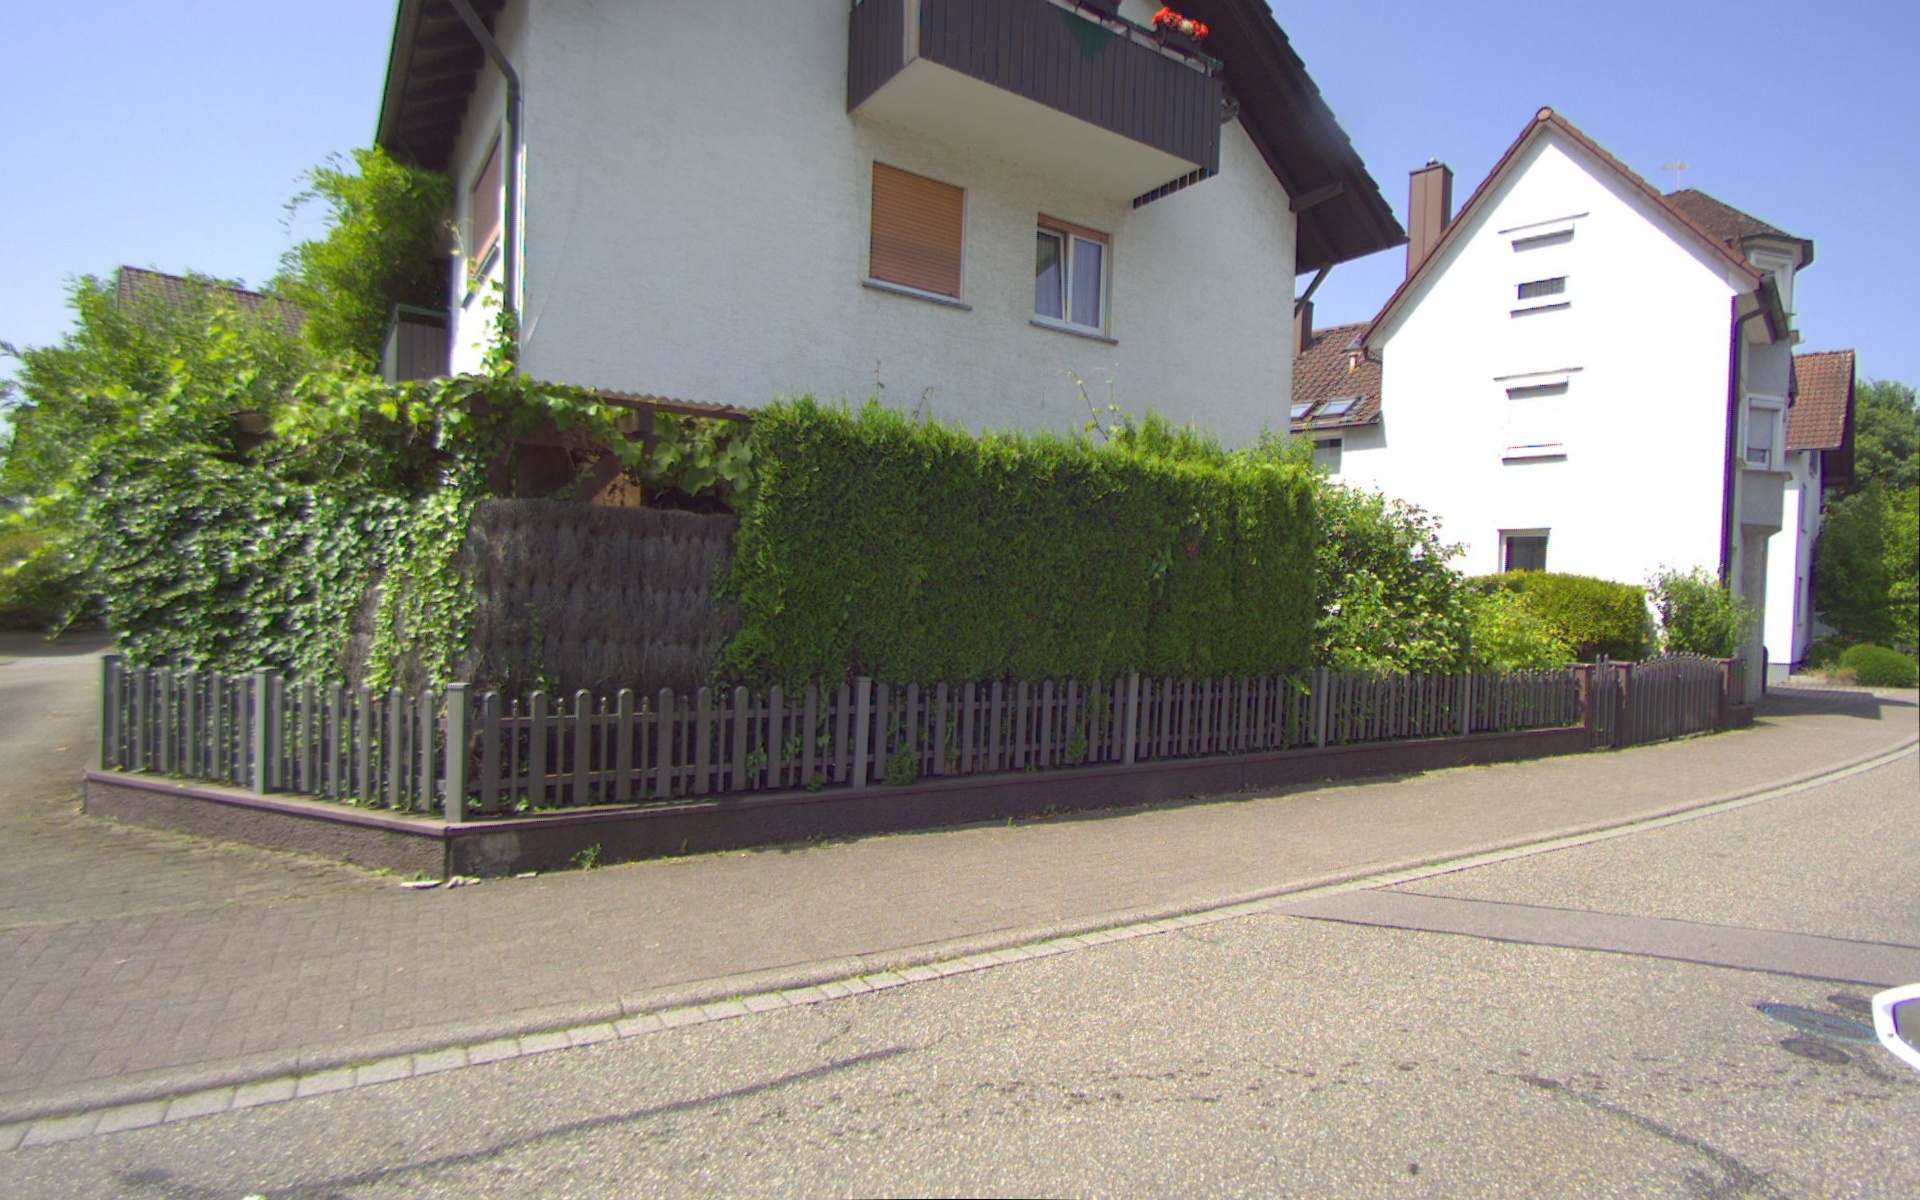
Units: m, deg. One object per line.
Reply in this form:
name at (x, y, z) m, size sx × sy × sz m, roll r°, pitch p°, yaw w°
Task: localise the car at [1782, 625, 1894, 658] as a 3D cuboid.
car at (43.569, 2.028, 49.882) m, size 4.118 × 1.559 × 1.762 m, roll -1°, pitch -1°, yaw 45°
